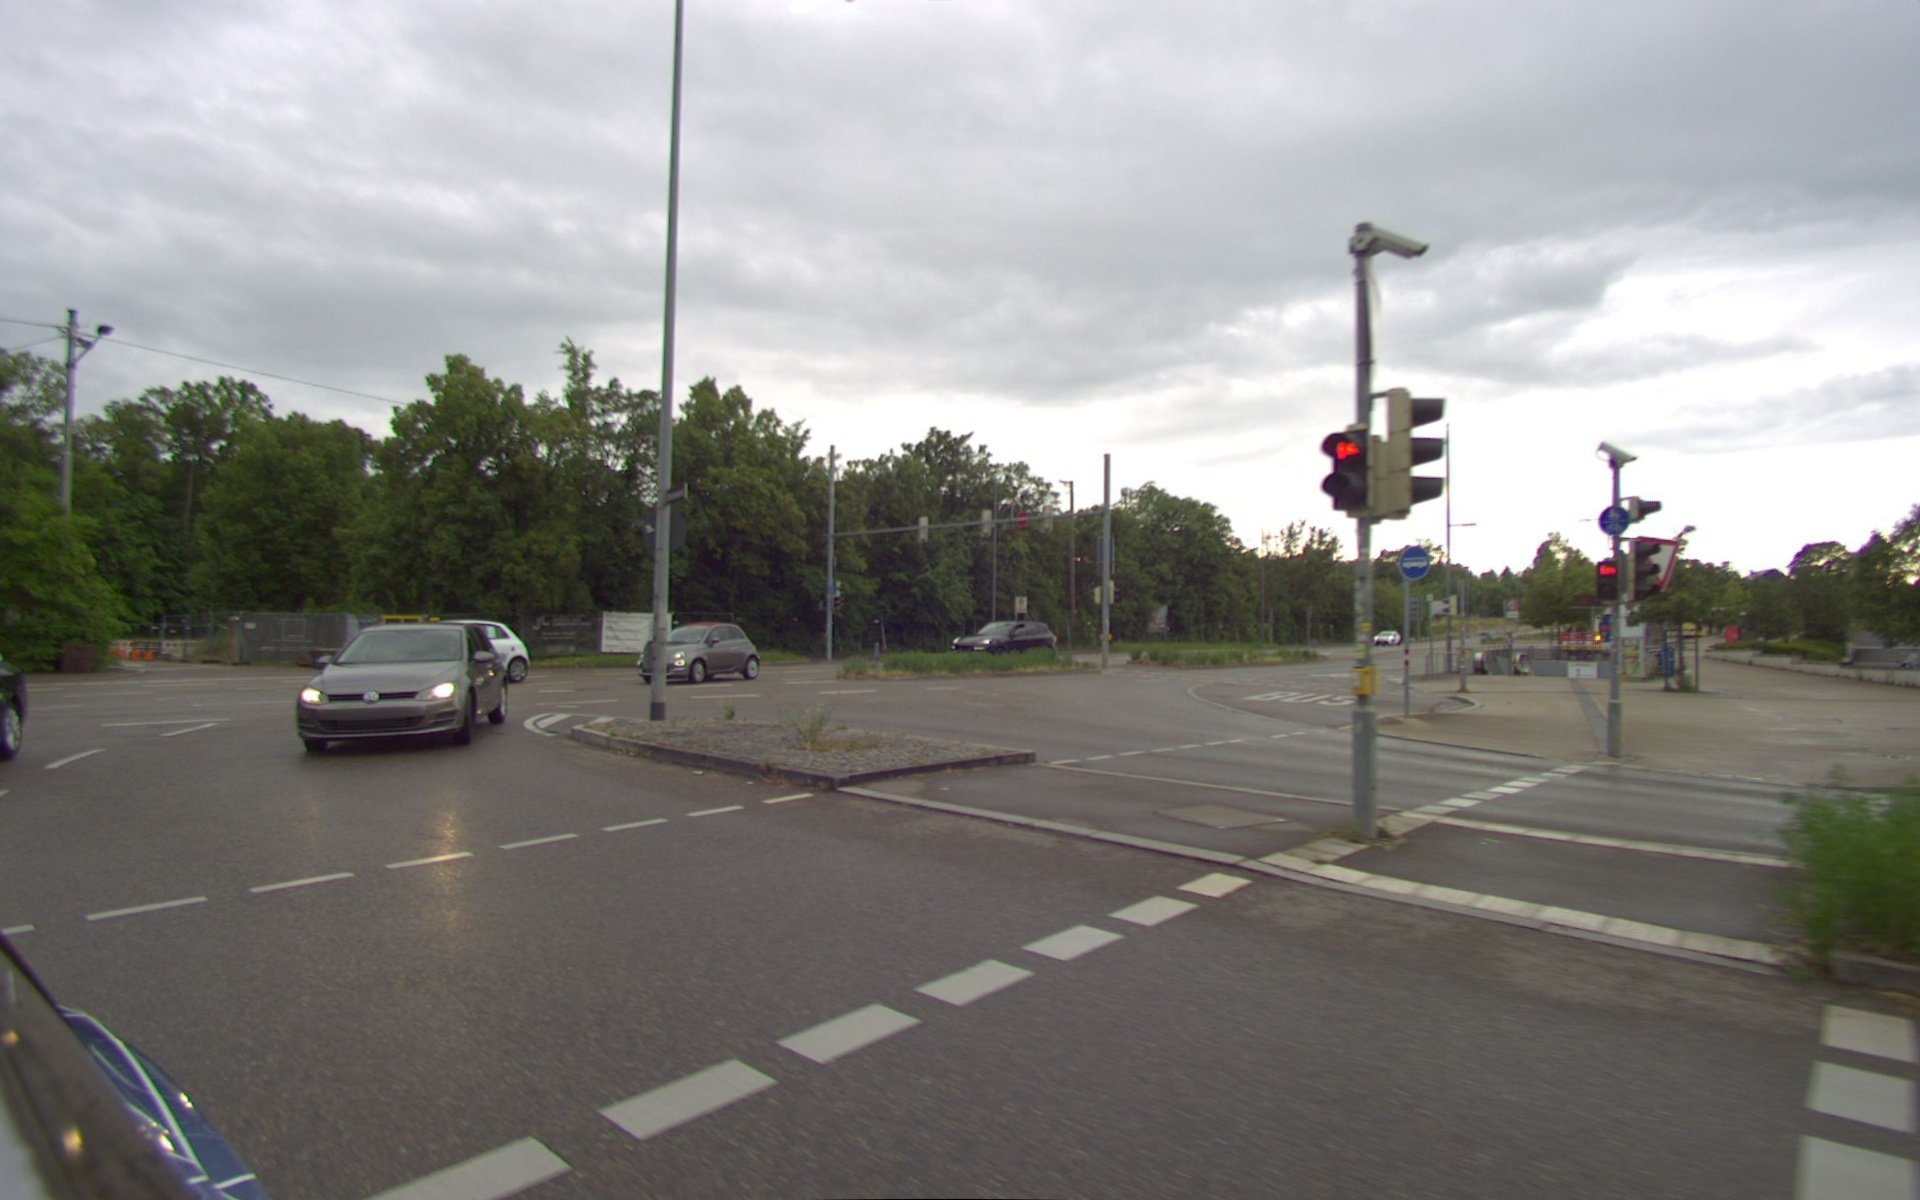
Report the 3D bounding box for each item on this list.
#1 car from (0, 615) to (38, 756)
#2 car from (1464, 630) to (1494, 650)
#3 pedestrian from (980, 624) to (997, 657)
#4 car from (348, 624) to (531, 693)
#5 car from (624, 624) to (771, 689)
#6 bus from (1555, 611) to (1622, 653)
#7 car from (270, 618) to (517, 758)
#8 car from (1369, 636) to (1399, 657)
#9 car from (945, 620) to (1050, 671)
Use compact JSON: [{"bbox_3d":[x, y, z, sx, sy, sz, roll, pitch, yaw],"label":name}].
[{"bbox_3d":[-10.202,0.902,9.048,1.774,1.441,4.534,-1,0,-27],"label":"car"},{"bbox_3d":[53.963,4.148,105.205,1.997,2.029,3.949,-3,-3,38],"label":"car"},{"bbox_3d":[1.642,2.342,58.328,0.677,1.898,0.690,-2,-3,41],"label":"pedestrian"},{"bbox_3d":[-12.409,1.359,24.254,1.645,1.532,3.530,-1,-2,41],"label":"car"},{"bbox_3d":[-6.646,1.391,25.948,1.663,1.541,3.623,-1,-2,27],"label":"car"},{"bbox_3d":[48.767,2.479,78.346,2.880,3.012,9.869,-1,-3,41],"label":"bus"},{"bbox_3d":[-6.896,0.993,12.805,1.873,1.450,4.011,0,-2,-16],"label":"car"},{"bbox_3d":[42.857,4.681,102.217,1.995,2.029,3.952,0,-2,35],"label":"car"},{"bbox_3d":[1.439,1.669,37.758,1.906,1.785,3.946,-1,-2,40],"label":"car"}]
